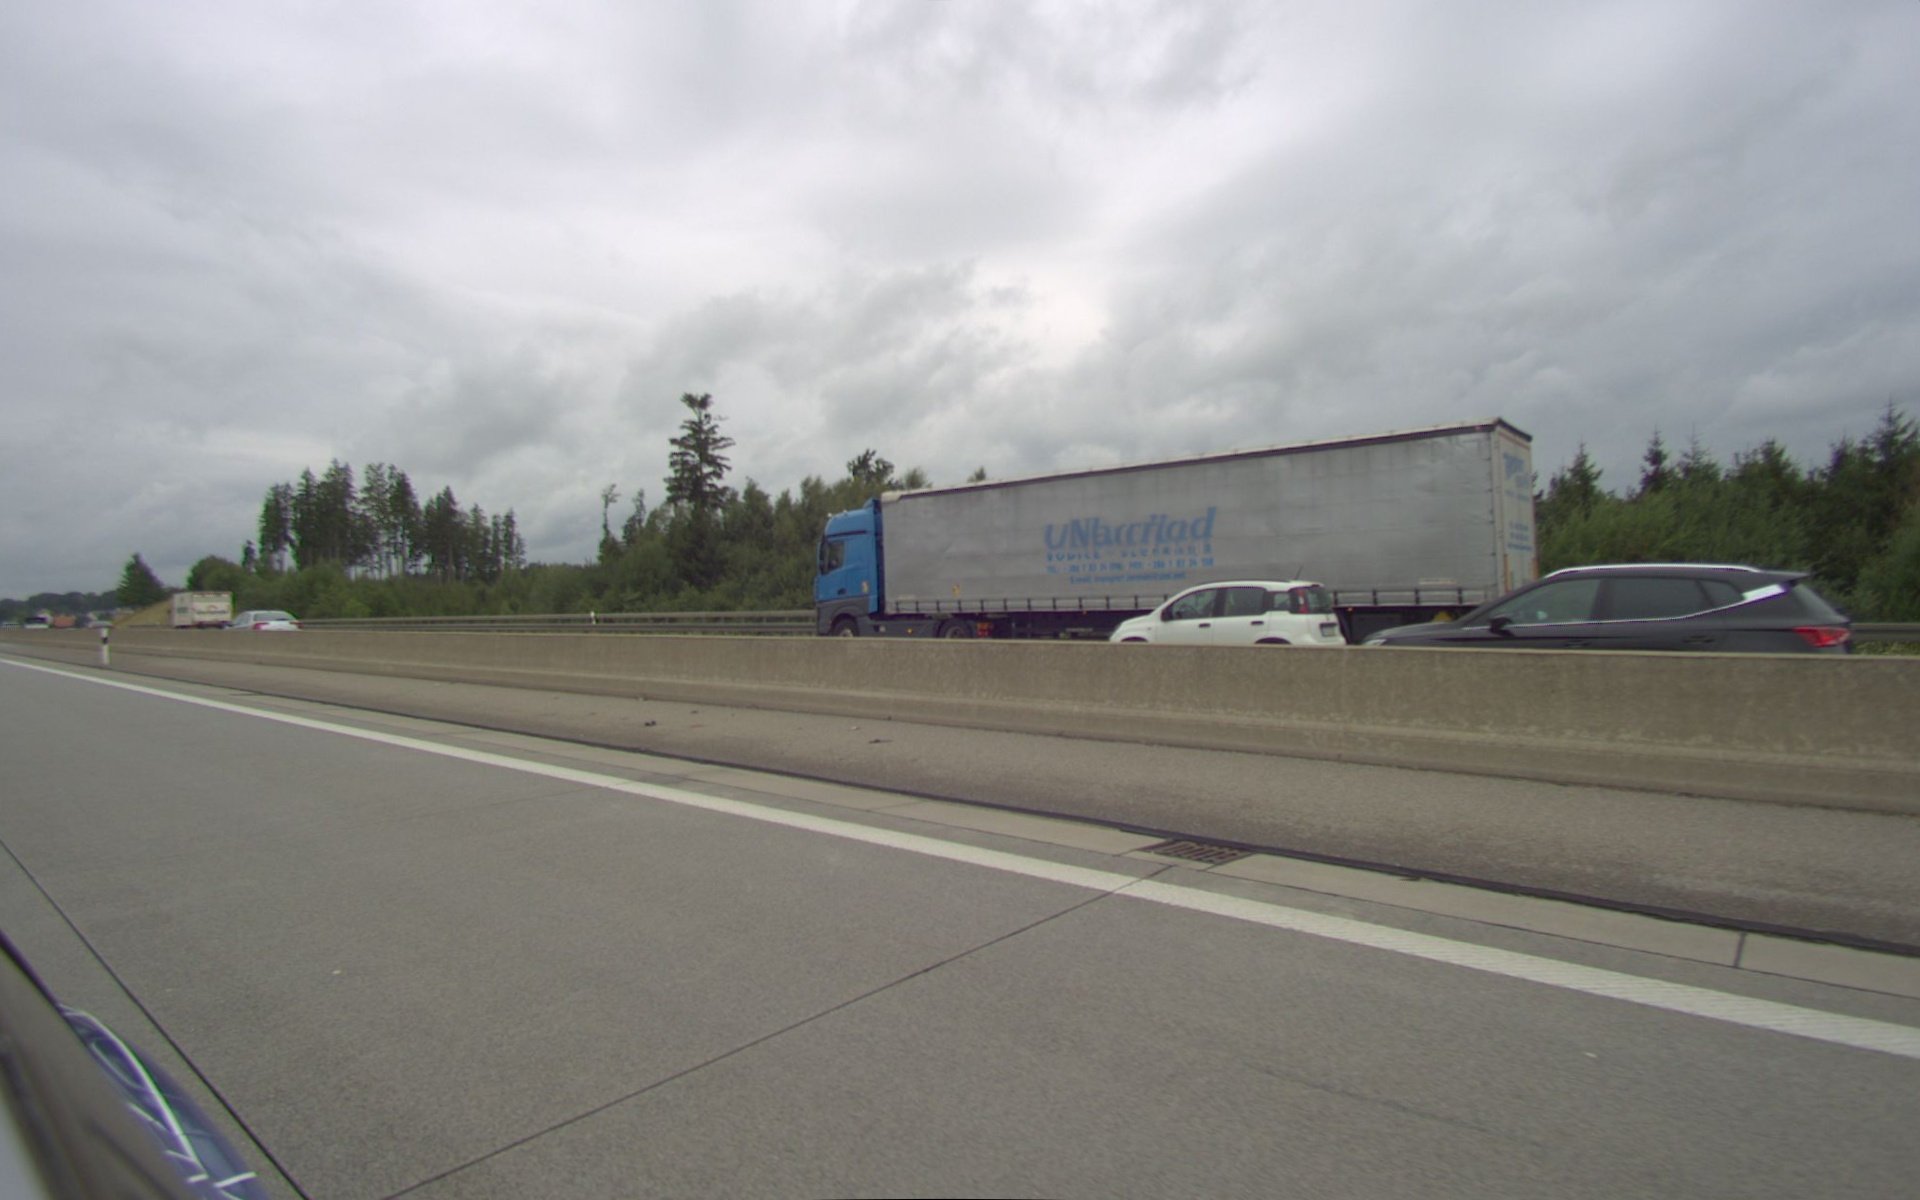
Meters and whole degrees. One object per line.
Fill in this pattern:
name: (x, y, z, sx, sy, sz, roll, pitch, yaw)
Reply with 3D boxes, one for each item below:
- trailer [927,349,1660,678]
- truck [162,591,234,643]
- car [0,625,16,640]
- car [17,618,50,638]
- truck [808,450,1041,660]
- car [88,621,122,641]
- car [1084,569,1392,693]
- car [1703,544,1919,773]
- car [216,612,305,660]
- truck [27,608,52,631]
trailer: (5.312, -1.101, 19.938, 13.631, 4.660, 2.885, -2, -1, 42)
truck: (-59.784, 1.361, 79.282, 8.897, 3.893, 2.868, -2, -1, 42)
car: (-102.610, 3.486, 108.448, 4.498, 1.578, 1.724, -2, -1, 43)
car: (-118.599, 3.567, 129.538, 7.517, 2.418, 2.592, -2, -1, 43)
truck: (-0.970, -0.966, 25.443, 5.229, 4.712, 2.897, -2, -1, 41)
car: (-71.304, 2.611, 84.343, 4.410, 1.578, 1.612, -2, -1, 42)
car: (4.153, 0.456, 15.571, 4.293, 1.663, 1.597, -2, -1, 41)
car: (8.240, 0.406, 7.572, 4.179, 1.691, 1.696, -2, -1, 41)
car: (-26.024, 1.317, 37.592, 4.719, 1.627, 1.680, -2, -1, 42)
truck: (-174.777, 3.672, 192.105, 8.852, 4.164, 2.805, -2, -1, 44)
